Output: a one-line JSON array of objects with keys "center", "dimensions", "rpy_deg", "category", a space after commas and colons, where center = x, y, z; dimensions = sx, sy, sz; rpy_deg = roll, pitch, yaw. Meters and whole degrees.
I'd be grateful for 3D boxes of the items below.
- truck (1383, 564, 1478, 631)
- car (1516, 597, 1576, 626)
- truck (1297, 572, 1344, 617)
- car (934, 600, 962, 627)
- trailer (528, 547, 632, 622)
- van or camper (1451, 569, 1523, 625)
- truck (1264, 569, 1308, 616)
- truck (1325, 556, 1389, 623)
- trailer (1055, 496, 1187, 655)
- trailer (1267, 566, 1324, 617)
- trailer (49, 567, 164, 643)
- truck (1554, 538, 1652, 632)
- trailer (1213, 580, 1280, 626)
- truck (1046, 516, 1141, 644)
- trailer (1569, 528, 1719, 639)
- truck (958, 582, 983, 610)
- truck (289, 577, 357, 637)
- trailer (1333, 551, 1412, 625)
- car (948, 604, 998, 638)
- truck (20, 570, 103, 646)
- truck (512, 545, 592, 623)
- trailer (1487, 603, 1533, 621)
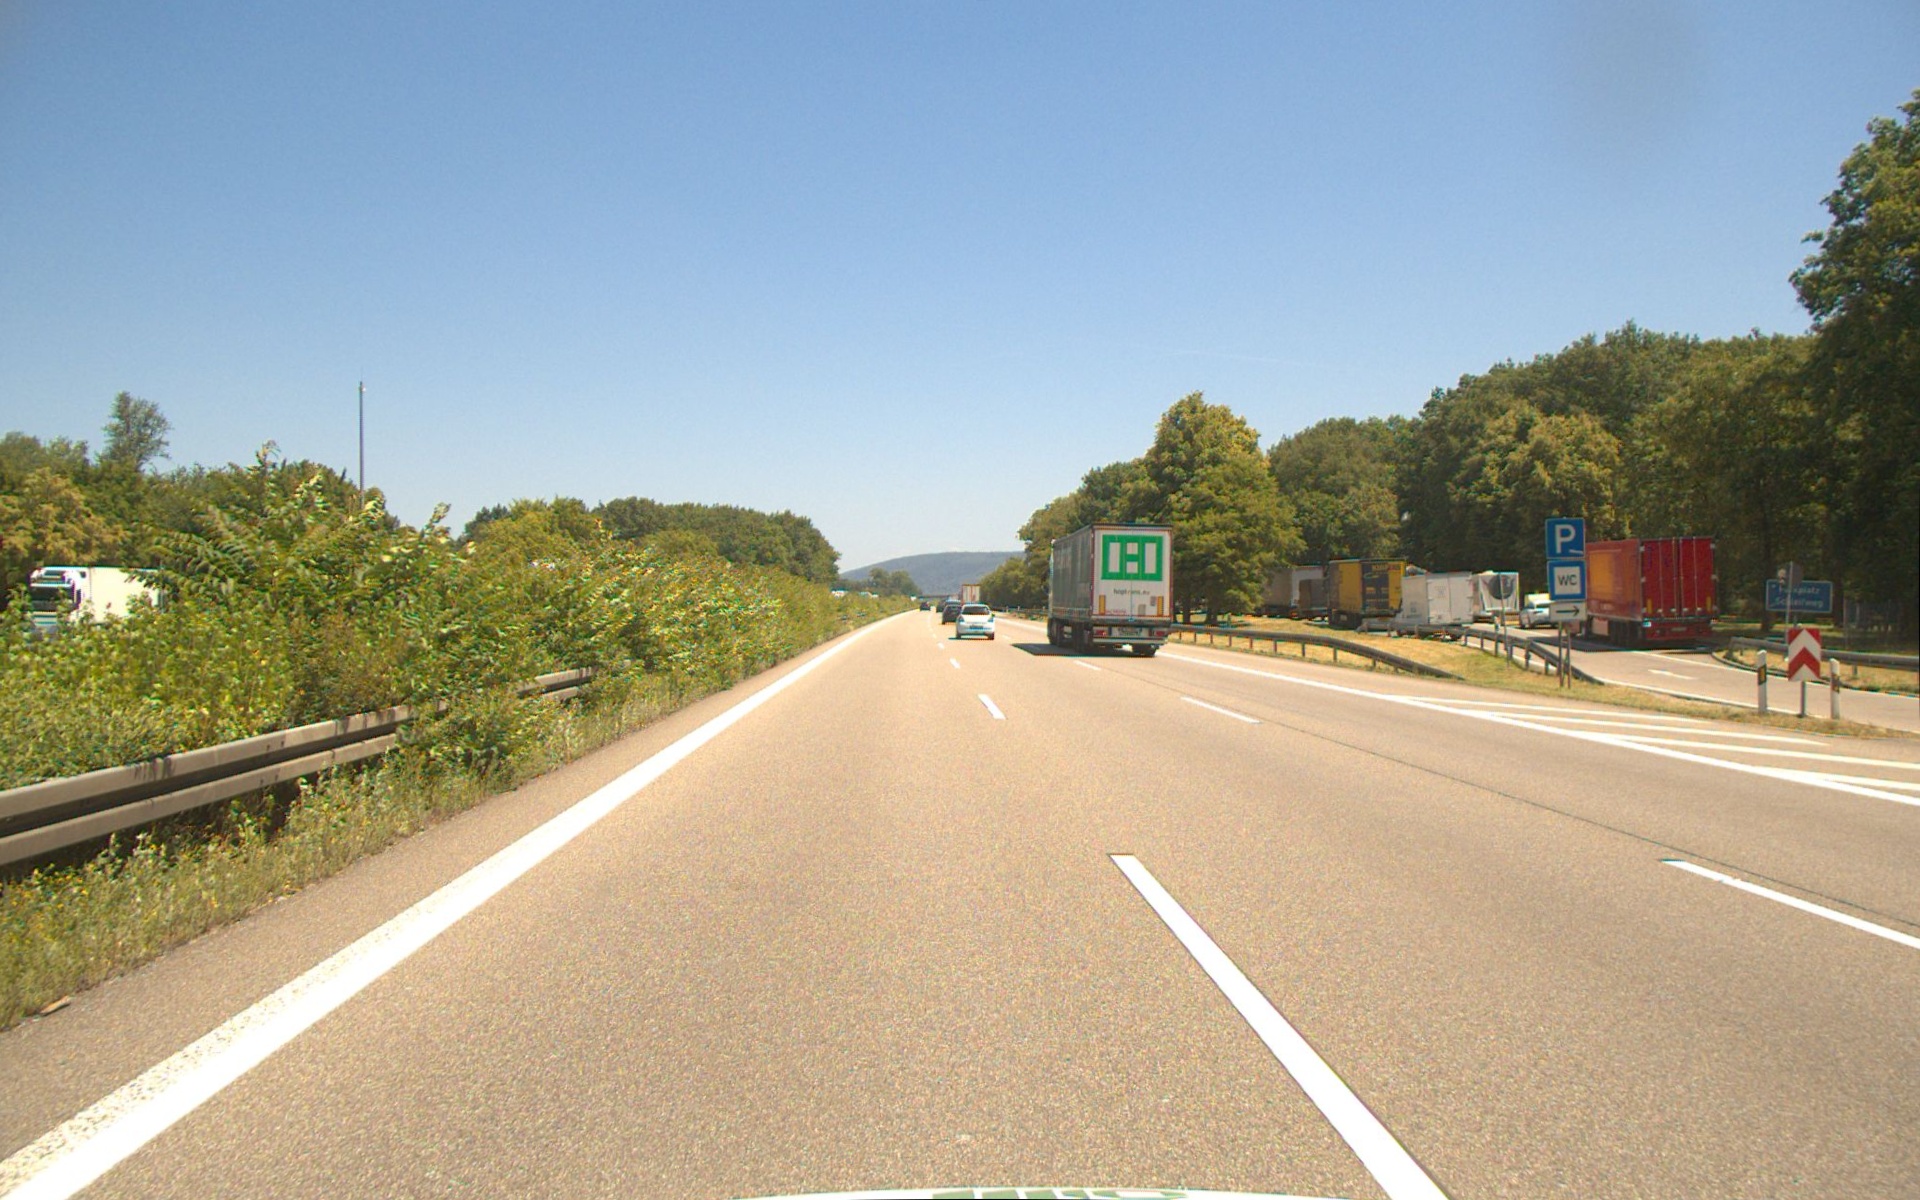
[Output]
[{"center": [21.911, -0.114, 77.414], "dimensions": [2.417, 2.997, 7.660], "rpy_deg": [0, 0, 1], "category": "truck"}, {"center": [30.571, 0.584, 86.415], "dimensions": [1.951, 1.476, 5.038], "rpy_deg": [0, 0, 8], "category": "car"}, {"center": [26.070, -0.363, 119.760], "dimensions": [2.416, 3.140, 6.620], "rpy_deg": [1, 0, 4], "category": "truck"}, {"center": [-0.870, 0.970, 121.742], "dimensions": [1.858, 1.926, 4.001], "rpy_deg": [-1, 0, 2], "category": "car"}, {"center": [-19.921, -0.728, 87.610], "dimensions": [2.904, 3.632, 13.427], "rpy_deg": [1, 0, -2], "category": "trailer"}, {"center": [32.281, -0.162, 101.542], "dimensions": [2.935, 3.291, 7.005], "rpy_deg": [0, 0, 7], "category": "van or camper"}, {"center": [27.355, -0.618, 139.025], "dimensions": [3.023, 3.856, 5.320], "rpy_deg": [1, 0, 5], "category": "truck"}, {"center": [24.538, -0.648, 102.485], "dimensions": [3.116, 4.004, 6.622], "rpy_deg": [0, 0, 7], "category": "truck"}, {"center": [5.150, -0.735, 55.351], "dimensions": [3.117, 4.708, 12.048], "rpy_deg": [0, 0, 0], "category": "trailer"}, {"center": [26.738, -0.635, 132.389], "dimensions": [3.036, 3.856, 13.371], "rpy_deg": [1, 0, 5], "category": "trailer"}, {"center": [-48.833, 0.277, 95.011], "dimensions": [2.564, 4.041, 12.566], "rpy_deg": [-1, 0, -12], "category": "trailer"}, {"center": [28.173, -0.623, 72.750], "dimensions": [2.915, 3.949, 6.422], "rpy_deg": [0, 0, 11], "category": "truck"}, {"center": [26.391, 0.258, 153.194], "dimensions": [3.072, 4.021, 14.188], "rpy_deg": [-1, 0, -3], "category": "trailer"}, {"center": [5.072, -0.742, 63.927], "dimensions": [3.117, 4.688, 5.946], "rpy_deg": [0, 0, -1], "category": "truck"}, {"center": [26.769, -0.597, 65.459], "dimensions": [2.915, 3.946, 12.899], "rpy_deg": [0, 0, 11], "category": "trailer"}, {"center": [1.439, -0.536, 236.361], "dimensions": [3.257, 3.822, 12.793], "rpy_deg": [1, 0, -1], "category": "truck"}, {"center": [-45.299, 0.485, 117.931], "dimensions": [2.562, 4.041, 9.976], "rpy_deg": [0, 0, -10], "category": "truck"}, {"center": [23.603, -0.661, 95.256], "dimensions": [3.116, 4.004, 11.559], "rpy_deg": [0, 0, 7], "category": "trailer"}, {"center": [0.548, 0.922, 73.221], "dimensions": [1.777, 1.429, 3.312], "rpy_deg": [0, 0, -8], "category": "car"}, {"center": [-47.146, 0.408, 86.908], "dimensions": [2.564, 3.834, 4.677], "rpy_deg": [-1, 0, -12], "category": "truck"}, {"center": [-19.623, -0.732, 79.808], "dimensions": [2.904, 3.620, 4.221], "rpy_deg": [1, 0, -2], "category": "truck"}, {"center": [31.064, 0.657, 93.462], "dimensions": [1.737, 0.975, 4.003], "rpy_deg": [0, 0, 8], "category": "trailer"}]
